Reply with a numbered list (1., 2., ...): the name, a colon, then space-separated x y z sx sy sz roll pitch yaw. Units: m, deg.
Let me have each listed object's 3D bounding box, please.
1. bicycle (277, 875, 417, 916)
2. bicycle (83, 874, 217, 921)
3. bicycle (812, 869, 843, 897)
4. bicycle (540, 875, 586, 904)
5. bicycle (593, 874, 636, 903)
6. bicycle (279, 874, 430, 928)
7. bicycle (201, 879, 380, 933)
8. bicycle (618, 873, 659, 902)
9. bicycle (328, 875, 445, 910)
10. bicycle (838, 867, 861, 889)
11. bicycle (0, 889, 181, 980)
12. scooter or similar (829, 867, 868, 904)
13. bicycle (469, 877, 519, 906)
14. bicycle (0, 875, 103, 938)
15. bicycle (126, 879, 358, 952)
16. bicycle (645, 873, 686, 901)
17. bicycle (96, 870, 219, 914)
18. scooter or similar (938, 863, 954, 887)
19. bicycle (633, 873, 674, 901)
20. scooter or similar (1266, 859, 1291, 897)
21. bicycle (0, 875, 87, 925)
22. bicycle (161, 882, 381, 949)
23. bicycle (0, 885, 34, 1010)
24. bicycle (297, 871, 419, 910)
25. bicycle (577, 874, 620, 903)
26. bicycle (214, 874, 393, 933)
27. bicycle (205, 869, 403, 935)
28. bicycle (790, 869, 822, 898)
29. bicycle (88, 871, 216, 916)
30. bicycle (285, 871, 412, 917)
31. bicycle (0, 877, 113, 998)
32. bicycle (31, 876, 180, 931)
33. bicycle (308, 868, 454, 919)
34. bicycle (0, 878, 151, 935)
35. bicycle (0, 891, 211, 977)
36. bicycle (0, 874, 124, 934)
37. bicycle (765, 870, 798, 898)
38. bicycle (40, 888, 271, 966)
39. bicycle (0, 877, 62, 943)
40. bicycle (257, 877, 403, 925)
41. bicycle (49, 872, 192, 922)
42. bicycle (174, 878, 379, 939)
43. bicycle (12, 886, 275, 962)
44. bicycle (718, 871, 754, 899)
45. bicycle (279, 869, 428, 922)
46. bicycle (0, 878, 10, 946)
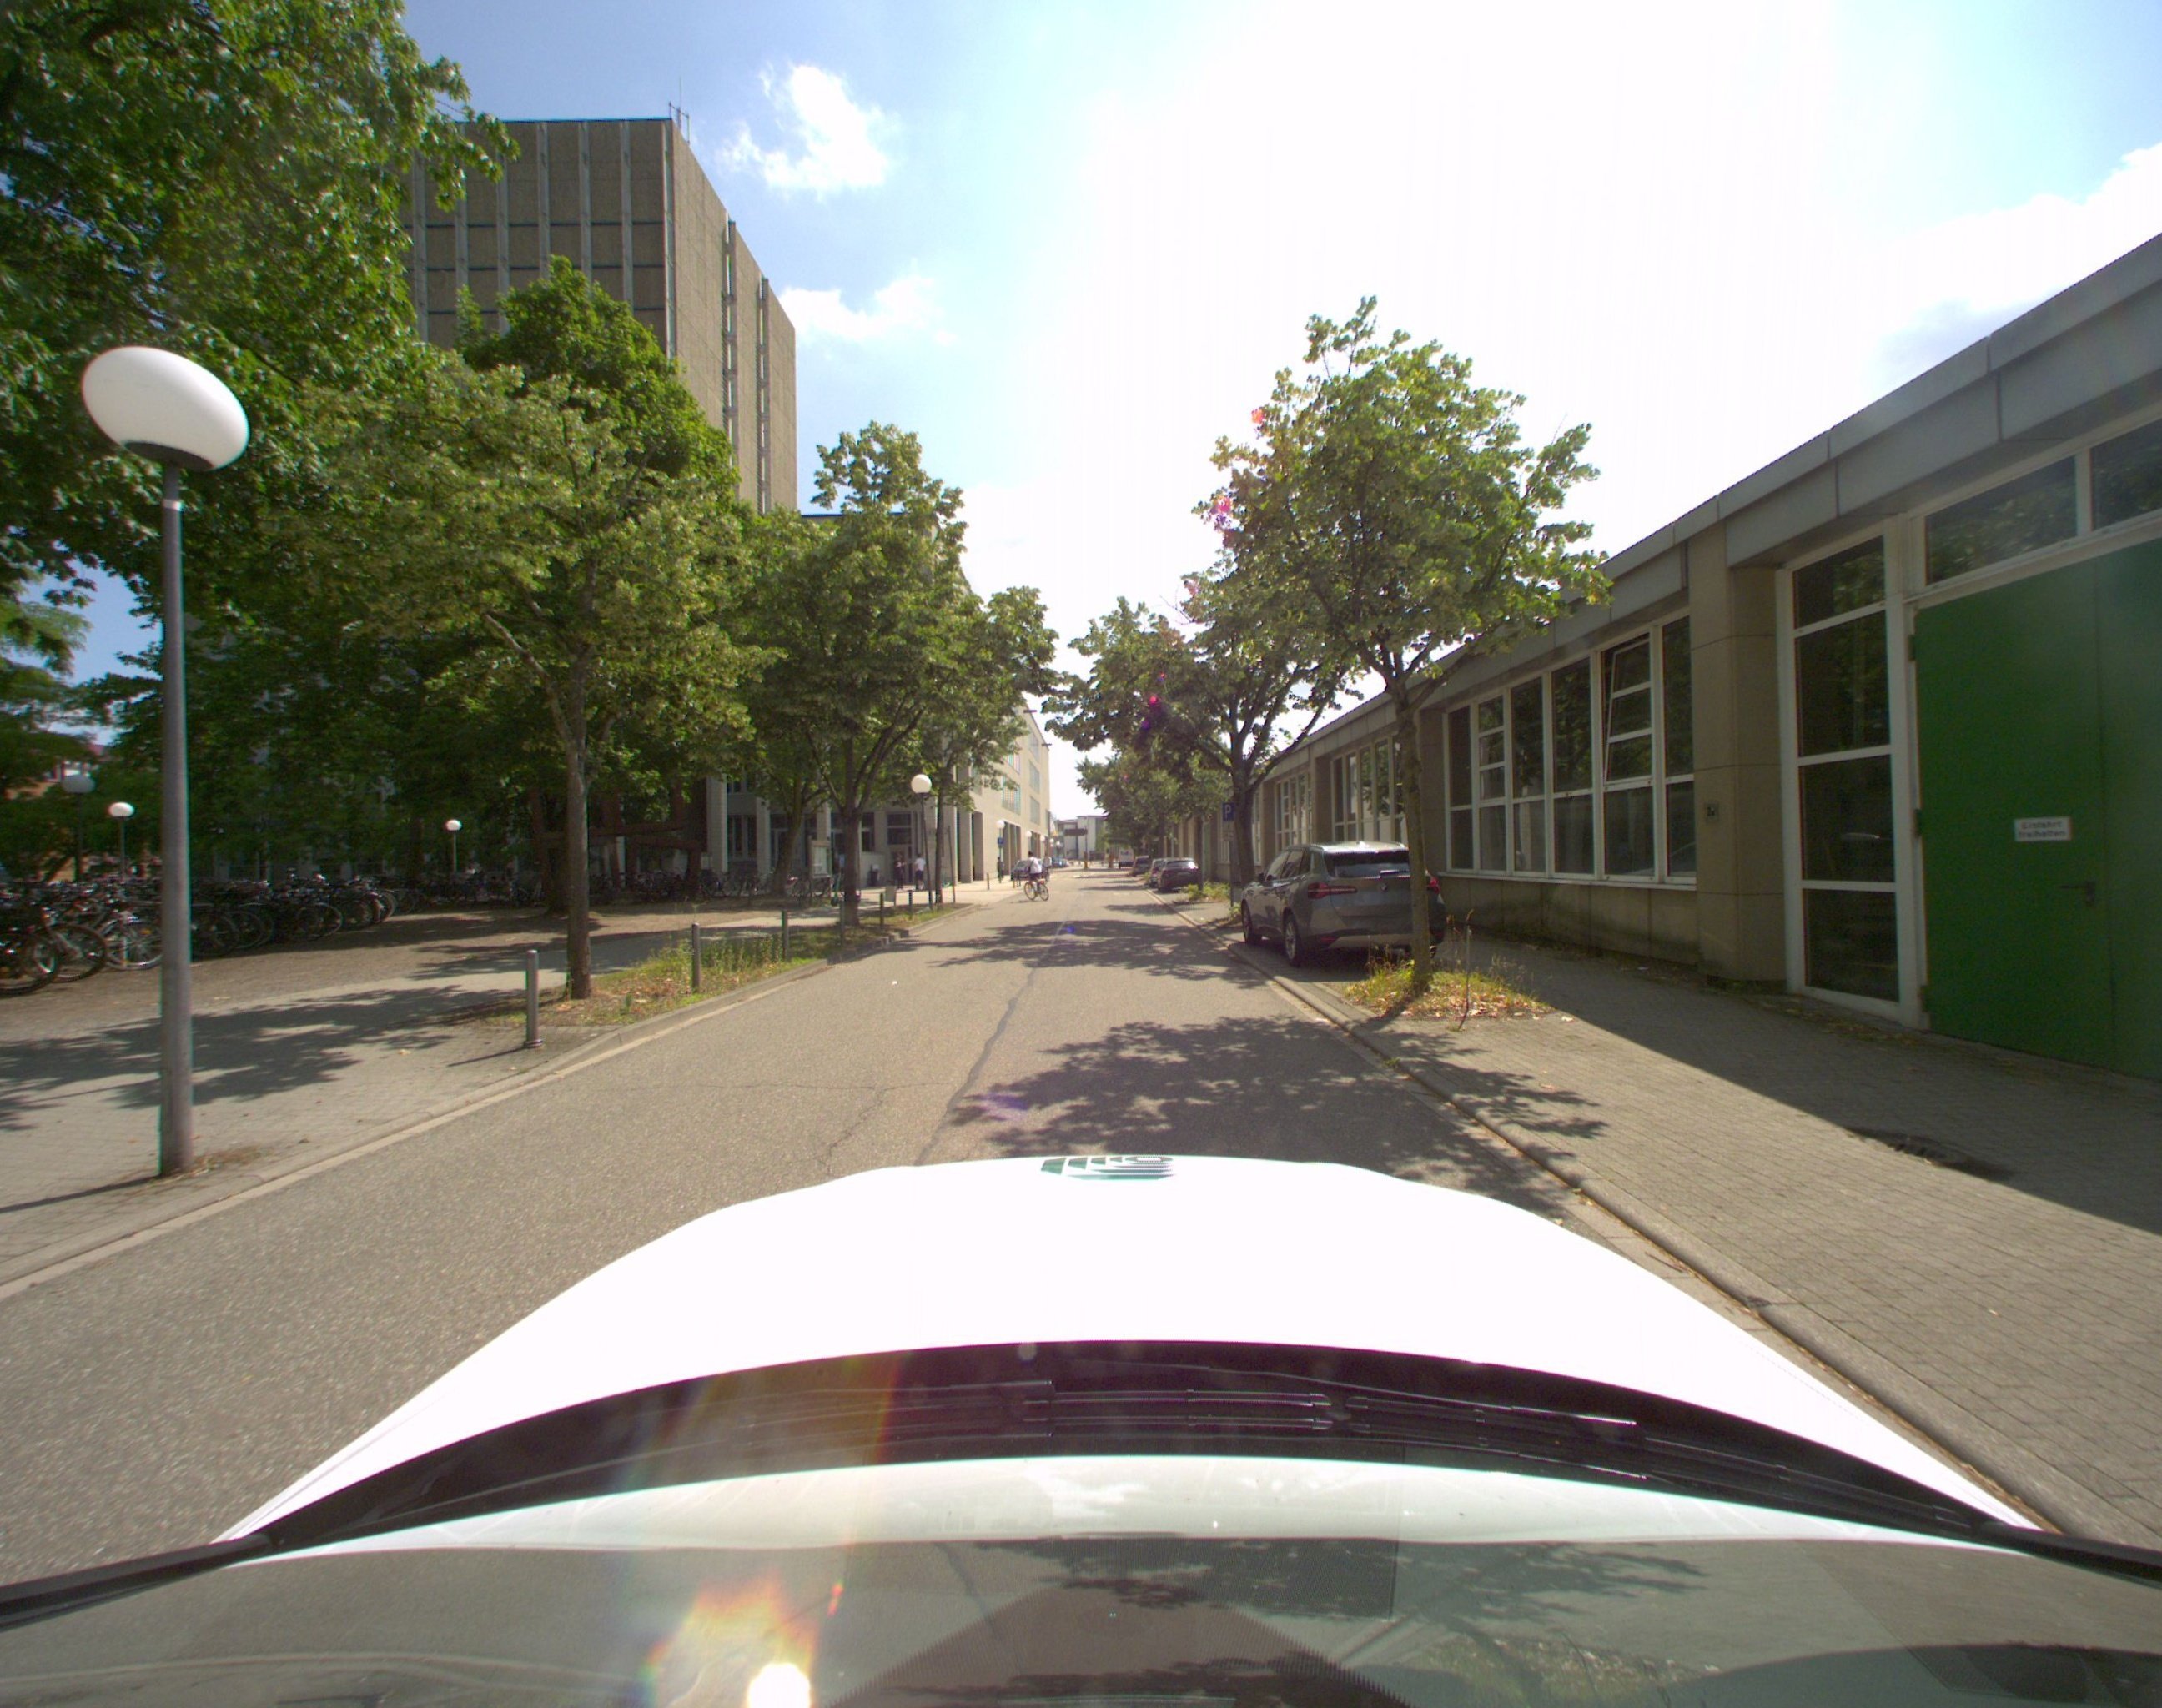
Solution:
1. bicycle: -21.291 1.191 23.729 2.976 1.126 0.734 2 -2 -41
2. bicycle: -23.335 1.098 20.479 2.068 1.132 0.633 3 -2 -34
3. bicycle: -10.240 1.149 32.945 0.550 1.086 1.973 1 0 2
4. bicycle: -21.051 1.426 33.142 0.550 1.086 1.973 1 0 2
5. bicycle: -18.917 1.370 33.053 0.550 1.086 1.973 1 0 2
6. bicycle: -17.704 1.102 19.950 2.723 1.179 0.872 0 0 -41
7. bicycle: -17.026 1.089 17.678 2.748 1.003 0.872 0 0 -41
8. bicycle: -17.984 1.350 33.134 0.550 1.086 1.973 1 0 2
9. bicycle: -22.262 1.238 26.181 2.777 1.069 0.734 2 -2 -41
10. bicycle: -11.733 1.226 41.321 0.462 1.014 1.868 0 2 5
11. bicycle: -12.599 0.964 9.870 2.159 1.008 0.672 0 0 -29
12. scooter or similar: -7.716 1.035 27.065 0.335 1.176 1.337 -1 -1 36
13. bicycle: -23.704 1.485 32.936 0.550 1.086 1.973 1 0 2
14. bicycle: -20.416 1.010 15.575 2.069 1.132 0.633 -1 0 -34
15. bicycle: -14.552 1.030 14.303 2.766 1.086 0.872 0 0 -41
16. bicycle: -16.801 1.314 32.987 0.550 1.086 1.973 1 0 2
17. bicycle: -25.120 1.042 22.204 2.068 1.132 0.633 3 -1 -34
18. scooter or similar: -7.133 1.093 43.183 0.452 1.223 1.551 -1 0 5
19. bicycle: -17.373 1.335 33.152 0.550 1.086 1.973 1 0 2
20. scooter or similar: 6.843 0.809 28.249 0.509 1.250 1.486 -2 -1 2
21. bicycle: -25.002 1.069 19.081 2.068 1.132 0.633 0 0 -34
22. bicycle: -14.971 1.099 15.219 2.848 1.050 0.872 0 0 -41
23. bicycle: -11.694 0.934 7.721 2.058 1.234 0.804 0 -1 -17
24. bicycle: -23.450 1.168 26.491 2.927 1.156 0.734 0 -1 -41
25. bicycle: -19.692 1.398 33.284 0.550 1.086 1.973 1 0 2
26. bicycle: -17.638 1.081 18.610 2.899 1.178 0.872 0 0 -41
27. bicycle: -16.080 0.944 17.007 2.924 1.220 0.872 0 0 -41
28. bicycle: -11.182 1.181 33.152 0.550 1.086 1.973 1 0 2
29. bicycle: -24.430 1.052 21.468 2.068 1.132 0.667 3 -2 -34
30. bicycle: -22.195 1.181 24.768 2.852 1.233 0.734 -1 0 -41
31. bicycle: -11.968 0.864 8.631 2.058 1.234 0.804 1 -1 -17
32. bicycle: -22.071 1.092 18.496 2.068 1.132 0.633 0 0 -34
33. bicycle: -19.752 1.083 23.076 3.099 1.297 0.872 0 0 -41
34. bicycle: -21.625 1.119 17.466 2.068 1.132 0.633 3 -1 -34
35. bicycle: -13.108 1.041 10.883 1.897 1.008 0.672 0 0 -29
36. bicycle: -21.066 1.000 16.499 2.068 1.132 0.633 -1 0 -34
37. bicycle: -12.282 1.220 33.465 0.550 1.086 1.973 1 0 2
38. bicycle: -13.651 1.041 12.115 2.160 1.008 0.671 0 0 -30
39. bicycle: -19.817 1.005 14.438 2.068 1.132 0.633 0 0 -34
40. bicycle: -19.076 1.170 20.788 2.698 1.076 0.872 0 0 -41
41. bicycle: -22.707 1.001 19.320 2.068 1.132 0.633 2 -1 -34
42. bicycle: -15.615 1.019 15.961 2.798 1.015 0.872 0 0 -41
43. bicycle: -14.729 1.068 12.950 2.665 1.008 0.670 0 0 -41
44. bicycle: -14.002 1.248 33.084 0.550 1.086 1.973 1 0 2
45. bicycle: -19.484 1.067 21.929 2.949 1.287 0.872 0 0 -41
46. bicycle: -19.358 1.002 13.360 2.068 1.158 0.633 0 0 -34
